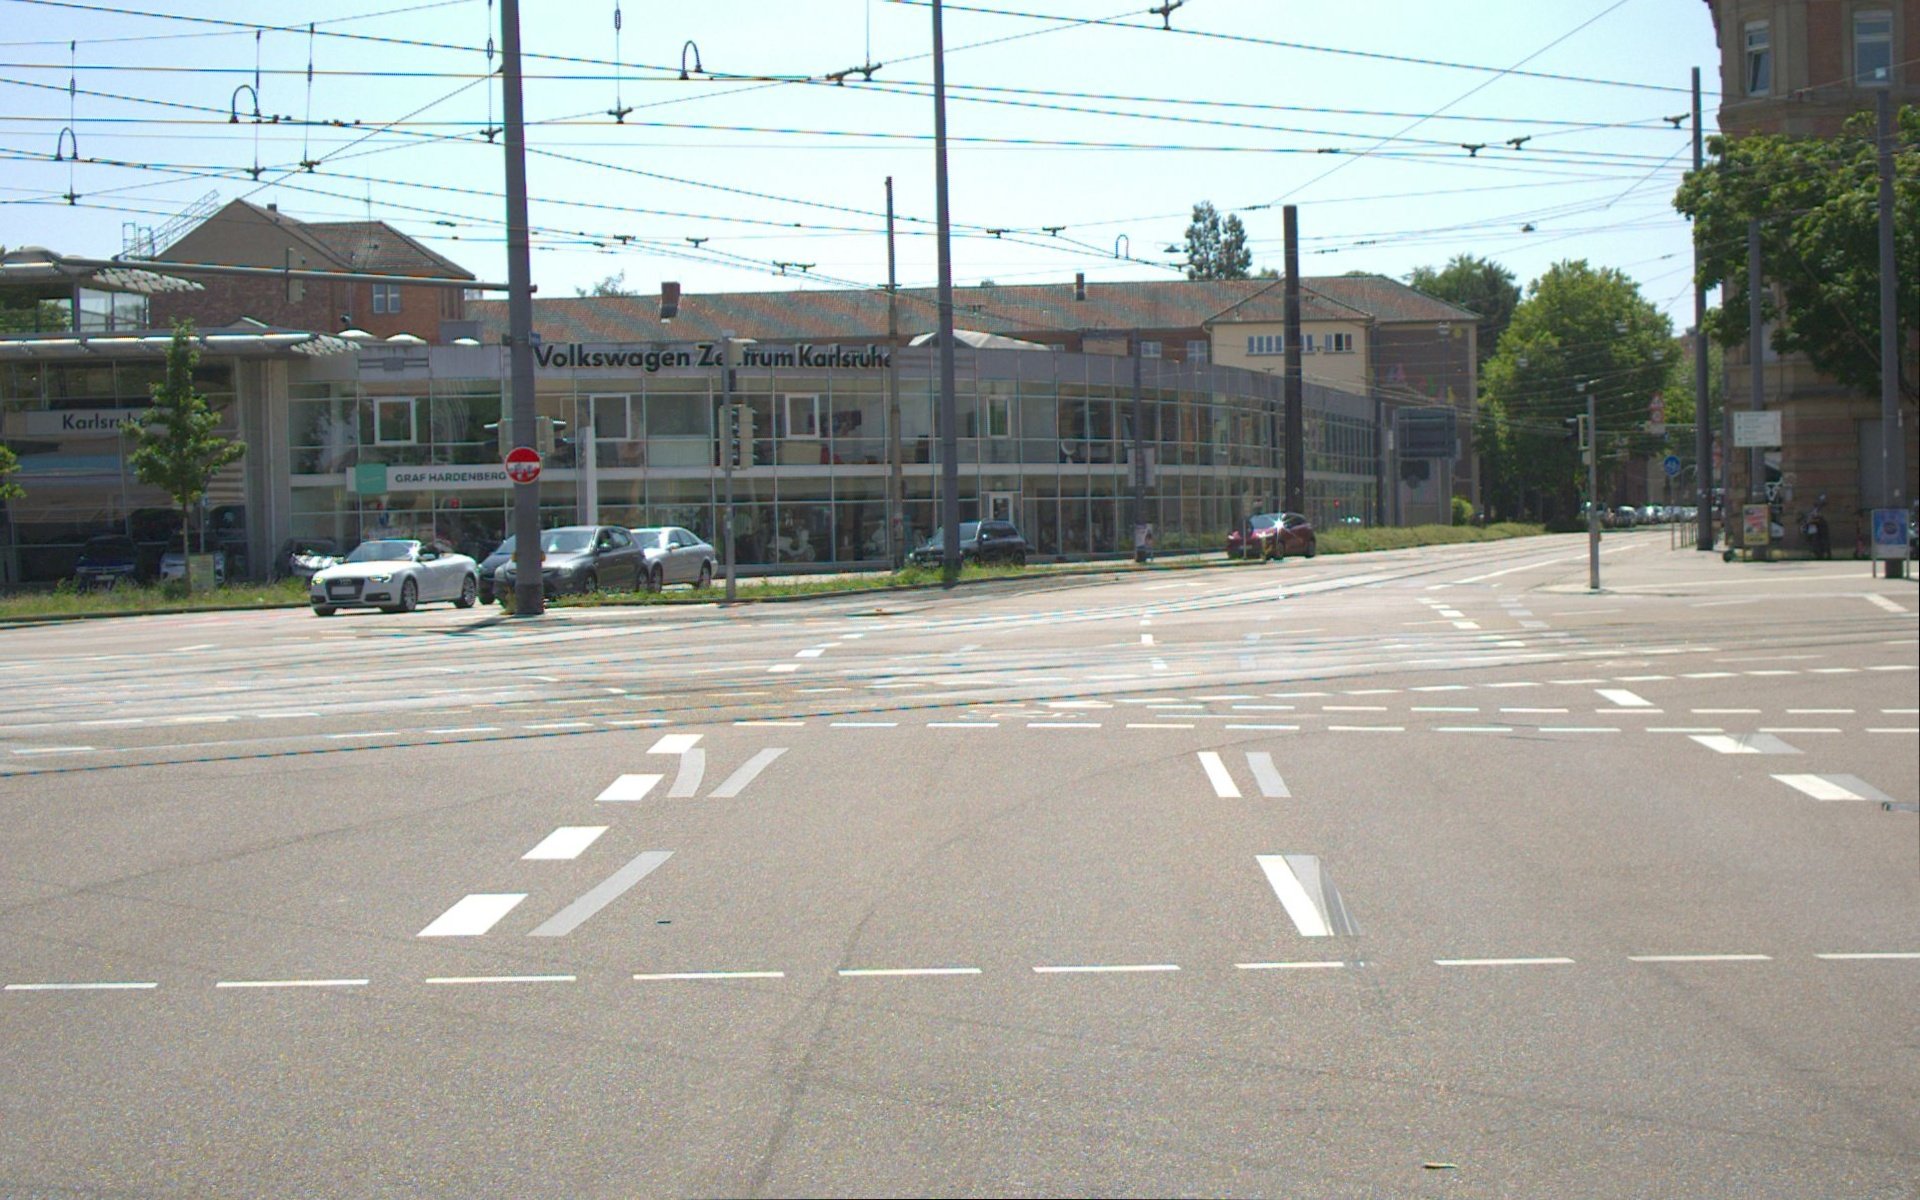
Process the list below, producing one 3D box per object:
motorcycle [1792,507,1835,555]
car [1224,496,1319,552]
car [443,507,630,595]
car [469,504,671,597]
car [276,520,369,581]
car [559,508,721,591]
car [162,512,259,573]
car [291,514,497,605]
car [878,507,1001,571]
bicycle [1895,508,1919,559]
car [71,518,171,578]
[{"bbox_3d":[19.646,-1.595,79.162,0.580,1.071,1.946,-1,1,3],"label":"motorcycle"},{"bbox_3d":[10.420,-2.524,114.818,1.996,1.769,3.995,1,1,23],"label":"car"},{"bbox_3d":[-8.617,-1.029,70.387,1.995,1.694,4.843,-1,1,17],"label":"car"},{"bbox_3d":[-7.265,-0.957,64.559,1.995,1.631,4.843,-1,1,17],"label":"car"},{"bbox_3d":[-18.552,-1.426,100.178,1.920,1.701,4.000,1,0,0],"label":"car"},{"bbox_3d":[-7.064,-1.149,76.329,1.995,1.733,4.540,-1,1,17],"label":"car"},{"bbox_3d":[-21.801,-1.666,100.089,1.920,1.701,4.000,1,0,0],"label":"car"},{"bbox_3d":[-10.512,-0.783,64.250,2.078,1.574,4.844,-1,1,13],"label":"car"},{"bbox_3d":[-0.543,-1.725,96.065,2.080,1.677,4.843,-1,1,17],"label":"car"},{"bbox_3d":[22.033,-1.530,79.533,0.442,1.142,2.093,1,0,6],"label":"bicycle"},{"bbox_3d":[-24.403,-1.505,100.113,1.920,1.701,4.000,1,0,0],"label":"car"}]
